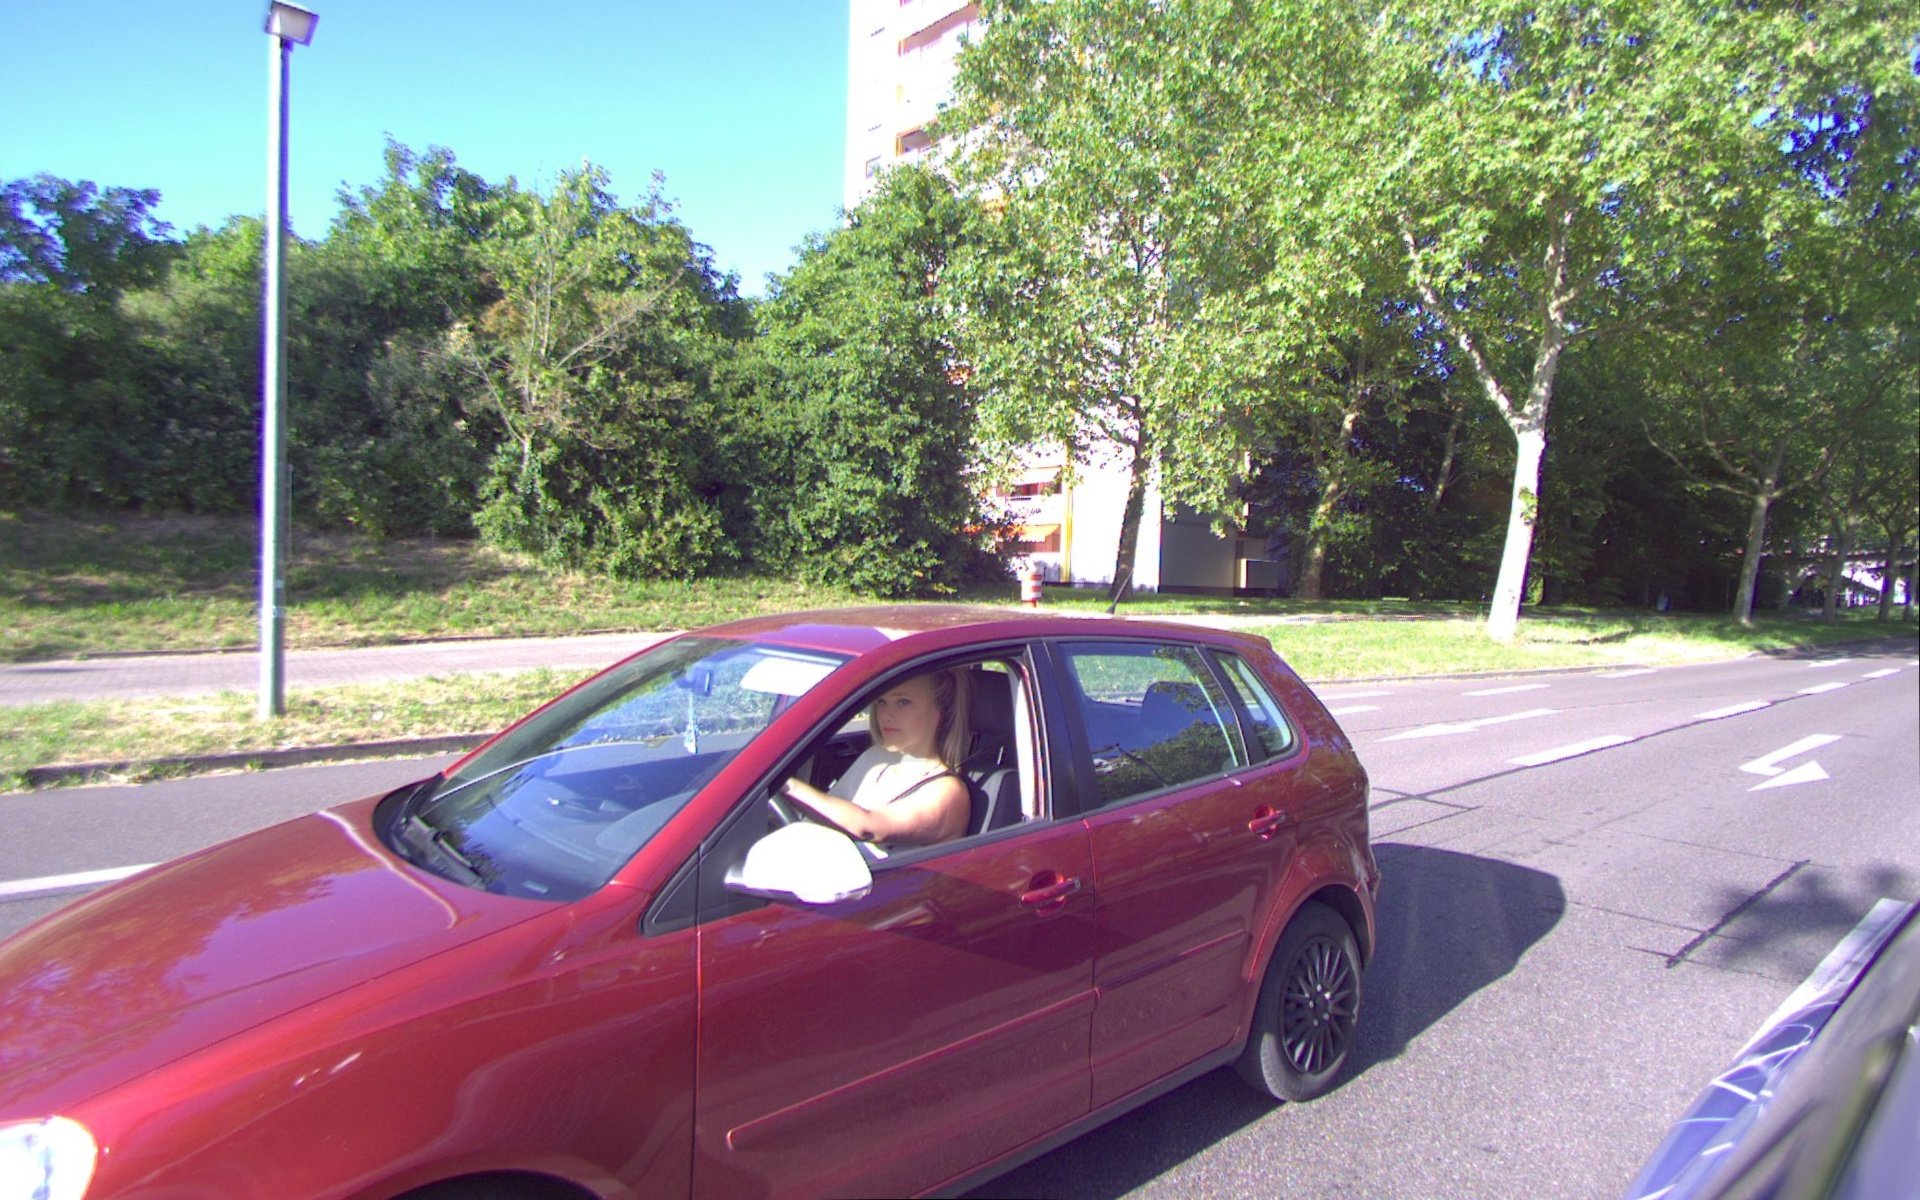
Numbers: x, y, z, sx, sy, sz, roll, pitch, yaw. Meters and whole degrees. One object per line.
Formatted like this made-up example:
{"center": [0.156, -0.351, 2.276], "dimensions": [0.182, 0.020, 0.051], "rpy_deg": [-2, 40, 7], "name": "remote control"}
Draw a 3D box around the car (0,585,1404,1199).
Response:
{"center": [-0.445, 0.707, 2.721], "dimensions": [3.624, 1.479, 1.579], "rpy_deg": [-1, 0, -40], "name": "car"}
